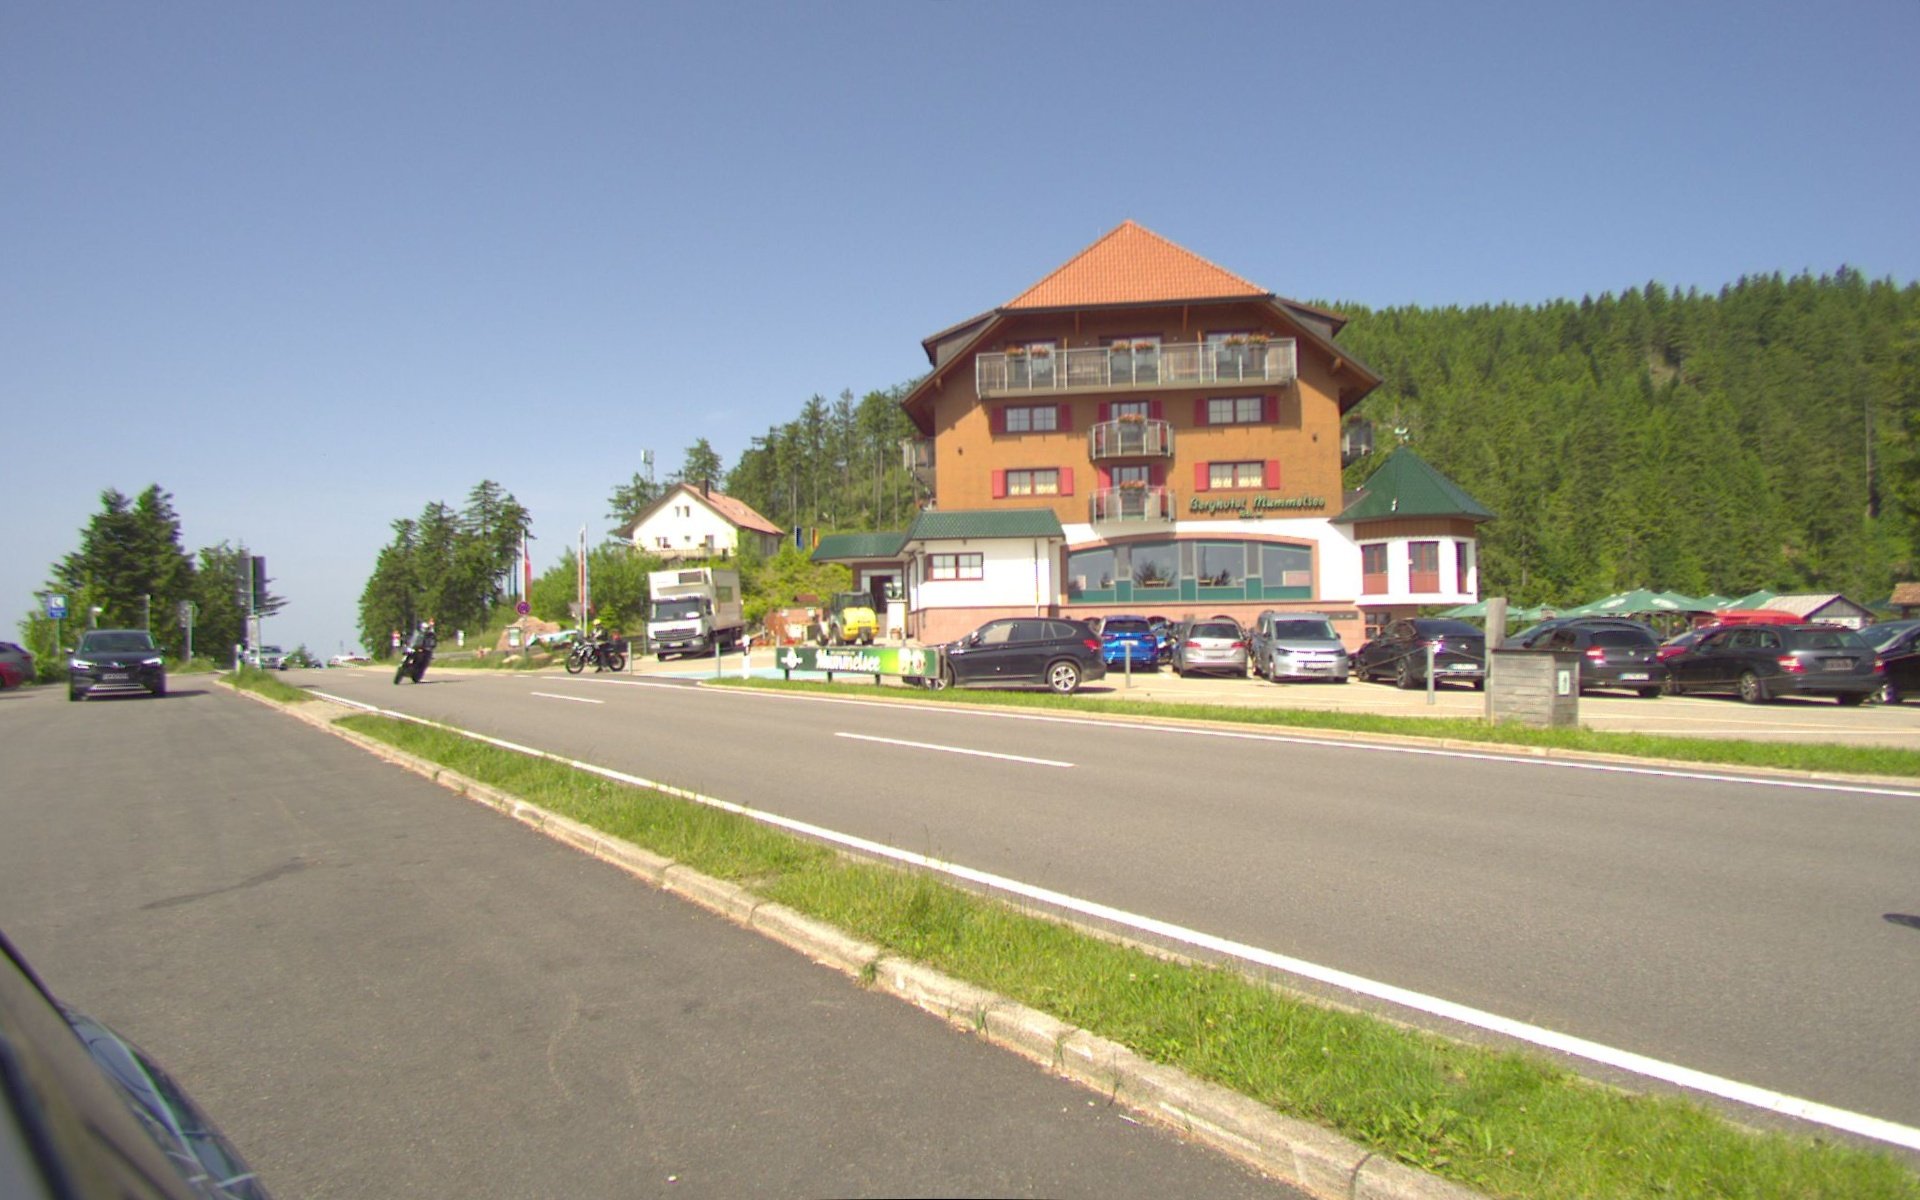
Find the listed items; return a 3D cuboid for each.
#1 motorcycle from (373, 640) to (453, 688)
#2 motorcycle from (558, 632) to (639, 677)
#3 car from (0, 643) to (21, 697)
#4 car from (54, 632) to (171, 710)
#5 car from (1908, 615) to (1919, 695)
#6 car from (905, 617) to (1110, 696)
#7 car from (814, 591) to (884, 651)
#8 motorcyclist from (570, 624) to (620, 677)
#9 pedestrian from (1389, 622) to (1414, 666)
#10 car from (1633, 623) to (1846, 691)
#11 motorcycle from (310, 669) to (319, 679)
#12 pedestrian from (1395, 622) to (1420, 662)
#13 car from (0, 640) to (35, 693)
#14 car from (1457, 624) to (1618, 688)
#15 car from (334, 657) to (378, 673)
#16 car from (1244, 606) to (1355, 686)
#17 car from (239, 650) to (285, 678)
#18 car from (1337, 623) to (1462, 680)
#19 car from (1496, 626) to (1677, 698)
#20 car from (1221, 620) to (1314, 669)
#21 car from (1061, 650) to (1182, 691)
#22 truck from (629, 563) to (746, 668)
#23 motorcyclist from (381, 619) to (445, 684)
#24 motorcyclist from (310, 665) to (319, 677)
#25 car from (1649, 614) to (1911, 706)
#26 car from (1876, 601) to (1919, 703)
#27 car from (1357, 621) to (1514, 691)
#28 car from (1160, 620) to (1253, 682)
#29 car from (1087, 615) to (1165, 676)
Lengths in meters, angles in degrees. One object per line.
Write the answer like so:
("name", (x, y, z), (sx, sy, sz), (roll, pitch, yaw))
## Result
("motorcycle", (-14.955, 1.724, 27.756), (0.867, 1.266, 2.276), (1, -2, 2))
("motorcycle", (-12.306, 1.834, 34.506), (1.005, 1.417, 2.412), (-2, -1, 40))
("car", (-29.089, 2.072, 28.330), (1.841, 1.521, 3.945), (-4, -2, 41))
("car", (-19.772, 1.601, 23.738), (1.954, 1.629, 4.157), (0, -2, -38))
("car", (19.772, 0.995, 18.049), (1.973, 1.564, 3.996), (0, -3, 3))
("car", (1.017, 1.195, 21.499), (4.140, 1.552, 1.804), (-1, -3, 6))
("car", (-5.009, 0.993, 45.137), (1.965, 2.515, 4.013), (0, -3, -23))
("motorcyclist", (-12.381, 1.694, 34.359), (1.064, 1.733, 1.231), (-2, -1, 40))
("pedestrian", (17.009, 1.695, 38.998), (0.696, 1.645, 0.623), (-2, -3, 14))
("car", (17.836, 1.297, 23.439), (1.910, 1.429, 3.996), (0, -3, 3))
("motorcycle", (-91.174, 10.425, 142.953), (0.800, 1.275, 2.334), (1, -4, -29))
("pedestrian", (16.919, 1.590, 38.287), (0.696, 1.501, 0.623), (-2, -3, 14))
("car", (-30.810, 2.122, 30.394), (1.908, 1.580, 4.347), (-4, -1, 44))
("car", (14.604, 1.406, 25.888), (1.910, 1.494, 3.996), (0, -3, 3))
("car", (-77.844, 8.366, 130.417), (4.655, 1.896, 1.936), (4, -6, -37))
("car", (8.626, 1.189, 26.122), (1.814, 1.878, 4.519), (-1, -3, 7))
("car", (-38.622, 3.540, 55.950), (1.754, 1.468, 4.007), (1, -4, -40))
("car", (12.292, 1.451, 28.602), (1.910, 1.494, 3.996), (0, -3, 3))
("car", (12.810, 1.254, 20.963), (1.567, 1.331, 3.635), (-1, -3, 3))
("car", (9.853, 1.438, 32.749), (1.910, 1.494, 3.996), (0, -3, 3))
("car", (5.460, 2.408, 34.596), (3.952, 1.307, 1.710), (-1, -3, 8))
("truck", (-11.856, 0.634, 45.003), (3.025, 4.002, 8.777), (-3, 0, -3))
("motorcyclist", (-15.033, 1.403, 27.857), (0.913, 1.731, 1.451), (1, -2, 2))
("motorcyclist", (-91.173, 10.036, 142.938), (0.866, 1.654, 1.303), (1, -4, -30))
("car", (14.848, 1.080, 18.674), (1.695, 1.497, 4.072), (-1, -3, 5))
("car", (16.842, 0.804, 15.825), (1.806, 1.717, 3.986), (-1, -3, 10))
("car", (10.710, 1.267, 23.136), (1.890, 1.441, 3.994), (-1, -3, 5))
("car", (6.714, 1.399, 27.972), (1.976, 1.557, 3.991), (-1, -3, 7))
("car", (4.938, 1.339, 30.627), (1.915, 1.676, 4.538), (-1, -2, 5))
